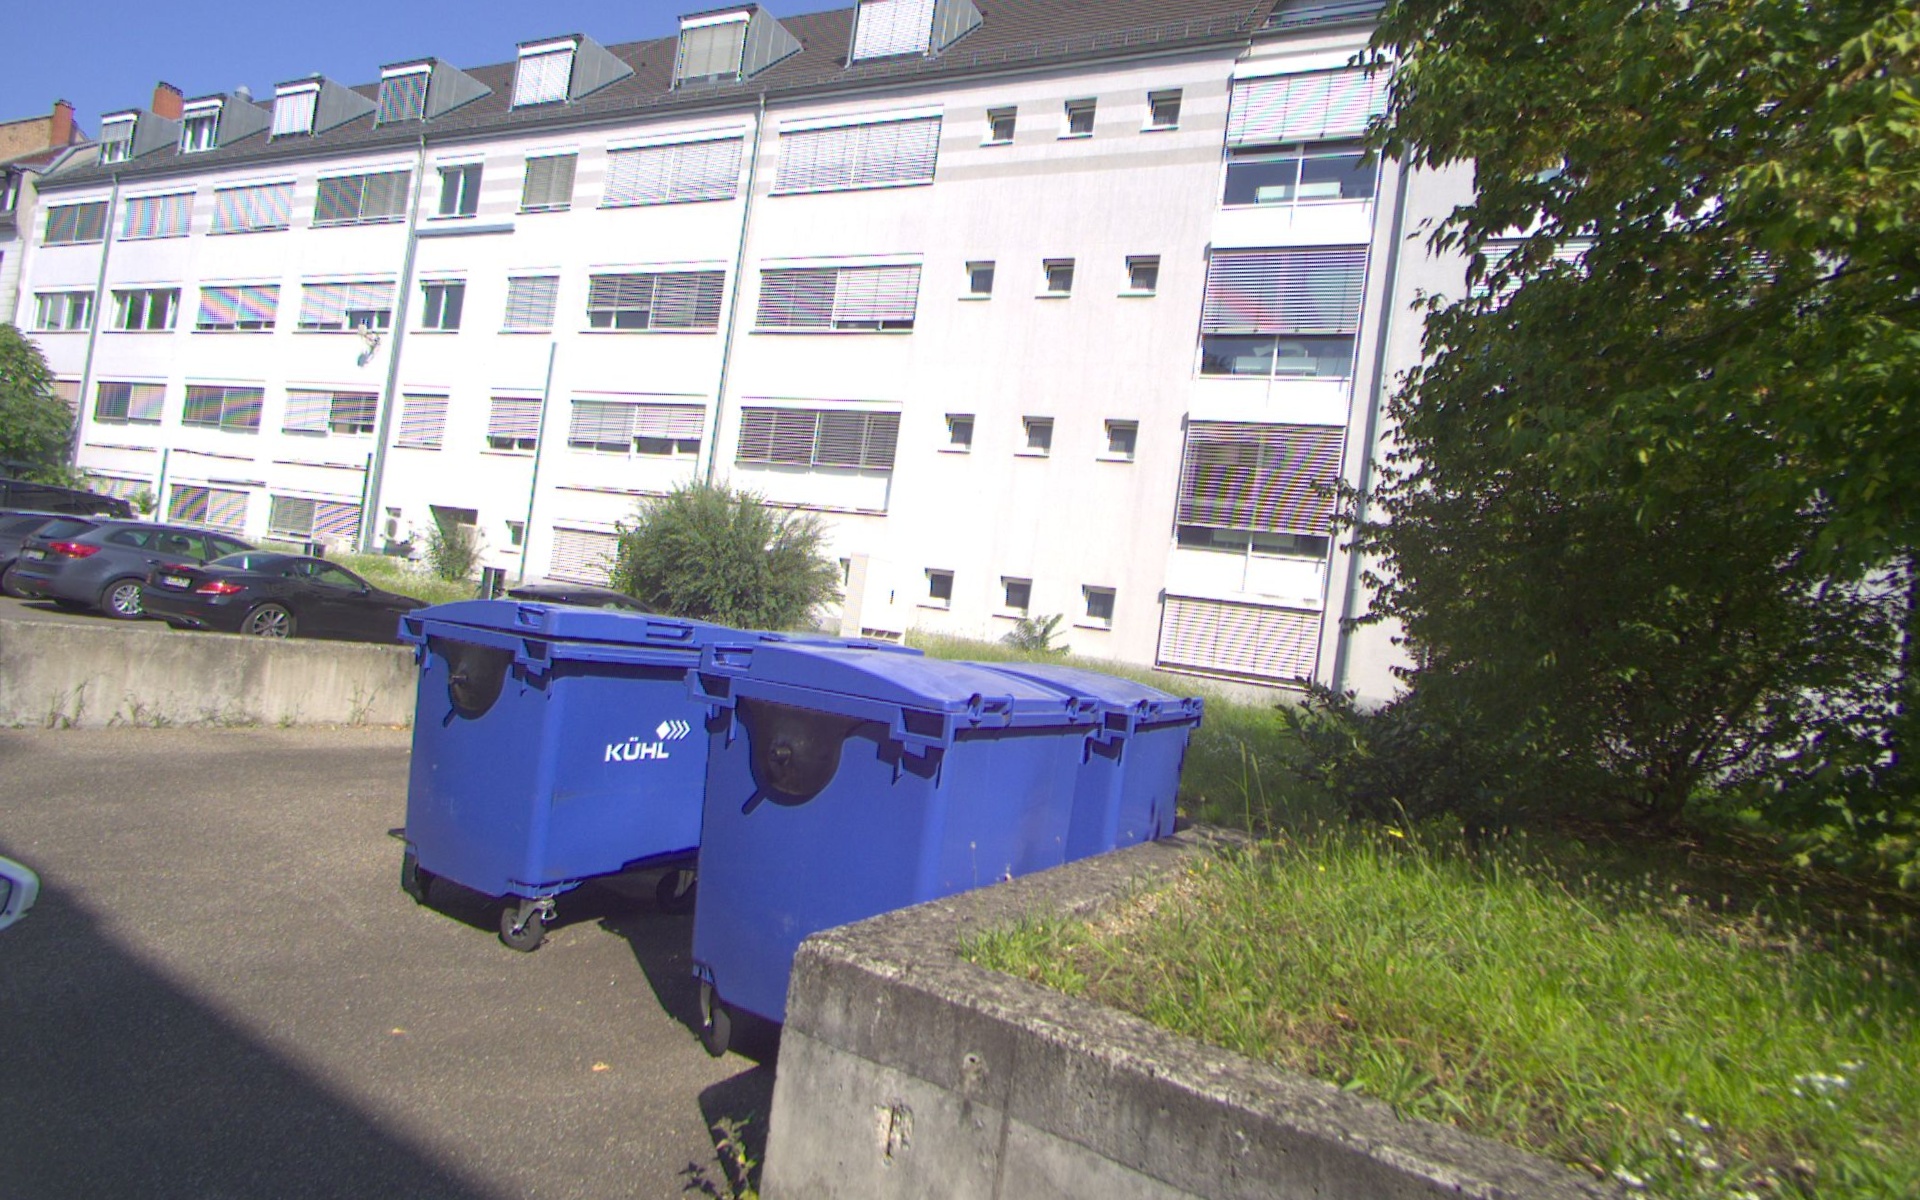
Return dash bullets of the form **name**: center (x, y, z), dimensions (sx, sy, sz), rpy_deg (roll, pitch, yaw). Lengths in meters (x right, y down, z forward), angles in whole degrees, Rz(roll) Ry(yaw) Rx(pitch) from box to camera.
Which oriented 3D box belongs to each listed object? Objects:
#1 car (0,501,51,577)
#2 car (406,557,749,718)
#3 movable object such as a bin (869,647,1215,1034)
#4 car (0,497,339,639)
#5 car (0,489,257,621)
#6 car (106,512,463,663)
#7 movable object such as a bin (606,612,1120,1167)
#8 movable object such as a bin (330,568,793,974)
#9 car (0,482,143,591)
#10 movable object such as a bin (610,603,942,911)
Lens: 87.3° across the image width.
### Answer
- **car**: center (-21.271, -1.500, 20.252), dimensions (1.742, 1.499, 3.947), rpy_deg (6, -2, 22)
- **car**: center (-4.587, 0.450, 12.549), dimensions (1.772, 1.565, 3.622), rpy_deg (6, 1, 29)
- **movable object such as a bin**: center (0.432, 0.992, 4.629), dimensions (1.058, 1.355, 1.230), rpy_deg (7, -2, 27)
- **car**: center (-12.496, -0.417, 16.043), dimensions (1.846, 1.606, 3.876), rpy_deg (7, -3, 26)
- **car**: center (-14.932, -0.768, 17.332), dimensions (1.741, 1.710, 4.130), rpy_deg (6, -3, 28)
- **car**: center (-9.634, -0.079, 14.720), dimensions (1.862, 1.606, 3.815), rpy_deg (7, -3, 22)
- **movable object such as a bin**: center (-0.250, 0.836, 3.492), dimensions (1.081, 1.355, 1.313), rpy_deg (6, -3, 28)
- **movable object such as a bin**: center (-1.689, 0.667, 4.427), dimensions (1.175, 1.355, 1.303), rpy_deg (6, -3, 31)
- **car**: center (-18.677, -1.367, 19.055), dimensions (1.849, 1.815, 4.518), rpy_deg (6, -2, 22)
- **movable object such as a bin**: center (-0.979, 0.809, 5.542), dimensions (1.099, 1.355, 1.236), rpy_deg (6, -3, 35)
